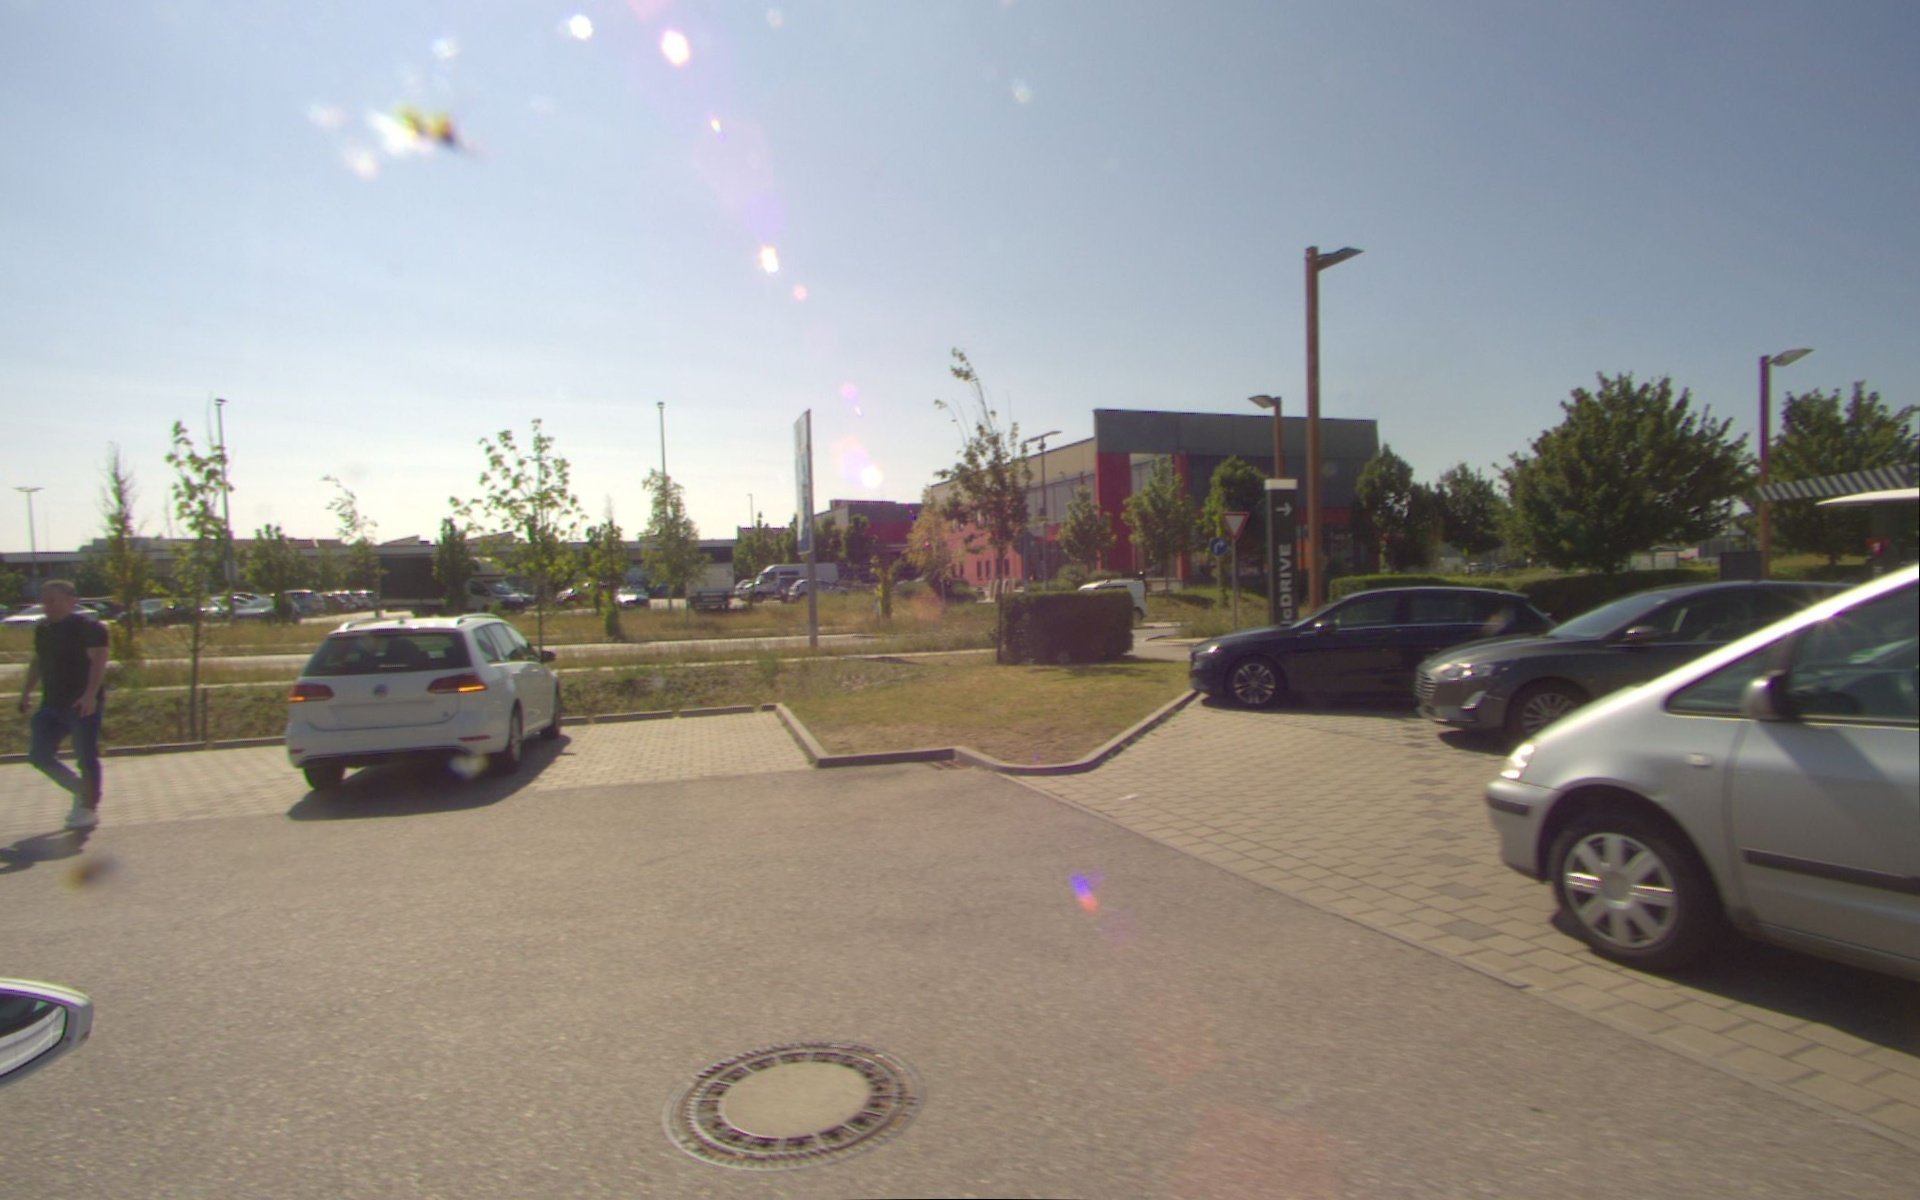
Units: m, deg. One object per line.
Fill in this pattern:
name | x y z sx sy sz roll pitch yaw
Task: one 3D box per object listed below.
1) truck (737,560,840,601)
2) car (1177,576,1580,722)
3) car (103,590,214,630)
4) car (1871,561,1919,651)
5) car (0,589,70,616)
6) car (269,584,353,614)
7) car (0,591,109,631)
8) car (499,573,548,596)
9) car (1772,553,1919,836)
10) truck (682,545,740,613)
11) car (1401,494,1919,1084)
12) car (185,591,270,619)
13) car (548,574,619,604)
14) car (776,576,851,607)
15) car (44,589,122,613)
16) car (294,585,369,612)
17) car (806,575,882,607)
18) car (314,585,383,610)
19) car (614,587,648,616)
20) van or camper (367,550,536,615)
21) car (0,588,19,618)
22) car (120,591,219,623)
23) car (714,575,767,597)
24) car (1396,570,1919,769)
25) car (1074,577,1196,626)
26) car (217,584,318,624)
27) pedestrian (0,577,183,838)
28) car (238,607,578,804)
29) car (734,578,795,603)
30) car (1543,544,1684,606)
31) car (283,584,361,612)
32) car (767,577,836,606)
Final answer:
truck | -12.218 -1.397 71.326 6.942 2.852 1.949 -1 1 -23
car | 4.994 0.520 12.400 4.259 1.547 1.969 0 2 22
car | -40.067 0.479 50.186 1.917 1.880 4.403 -1 1 1
car | 20.422 0.067 19.982 4.171 1.714 1.988 -2 2 -27
car | -66.615 0.166 71.219 4.498 1.880 1.949 -1 1 -23
car | -43.165 -0.105 66.745 4.332 1.880 1.949 -1 1 -23
car | -45.139 0.509 49.765 1.961 1.880 4.285 -1 1 1
car | -39.720 -1.389 91.252 3.931 2.041 1.994 -1 1 -20
car | 7.794 0.532 5.962 4.127 1.677 1.973 -1 1 11
truck | -13.791 -1.132 55.113 2.719 3.528 6.818 -1 1 -17
car | 3.842 0.546 2.992 1.803 1.772 4.667 -2 1 -23
car | -50.878 0.321 69.661 4.332 1.880 1.949 -1 1 -23
car | -24.587 -0.727 65.392 4.197 1.880 1.863 -1 1 -23
car | -9.367 -0.542 64.021 4.332 1.880 1.949 -1 1 -23
car | -72.200 0.101 82.502 4.332 1.880 1.949 -1 1 -23
car | -45.977 -0.150 73.405 4.332 1.880 1.949 -1 1 -23
car | -7.178 -0.547 61.983 4.332 1.880 1.949 -1 1 -23
car | -48.135 -0.191 78.949 4.332 1.880 1.949 -1 1 -23
car | -17.826 0.054 54.365 1.626 1.479 3.957 -1 1 -17
van or camper | -26.227 -0.888 51.697 7.903 3.144 2.417 -1 1 11
car | -63.380 0.216 63.781 4.498 1.880 1.949 -1 1 -23
car | -48.680 0.401 61.757 4.332 1.880 1.949 -1 1 -23
car | -19.562 -1.222 89.363 4.332 1.880 1.949 -1 1 -23
car | 6.347 0.542 9.077 4.129 1.547 1.972 -1 1 15
car | 7.496 0.034 42.893 4.807 1.980 1.875 -1 1 -16
car | -34.770 0.152 50.422 1.917 1.880 4.403 -1 1 1
pedestrian | -6.684 0.758 7.644 0.717 1.833 0.987 -1 1 37
car | -5.235 0.853 10.239 1.799 1.488 4.477 -2 0 -12
car | -15.195 -0.751 77.824 4.332 1.880 1.949 -1 1 -23
car | 24.897 -0.957 38.176 5.021 2.227 1.994 -1 1 -22
car | -45.290 -0.131 71.152 4.332 1.880 1.949 -1 1 -23
car | -10.909 -0.582 68.825 4.332 1.880 1.949 -1 1 -23
